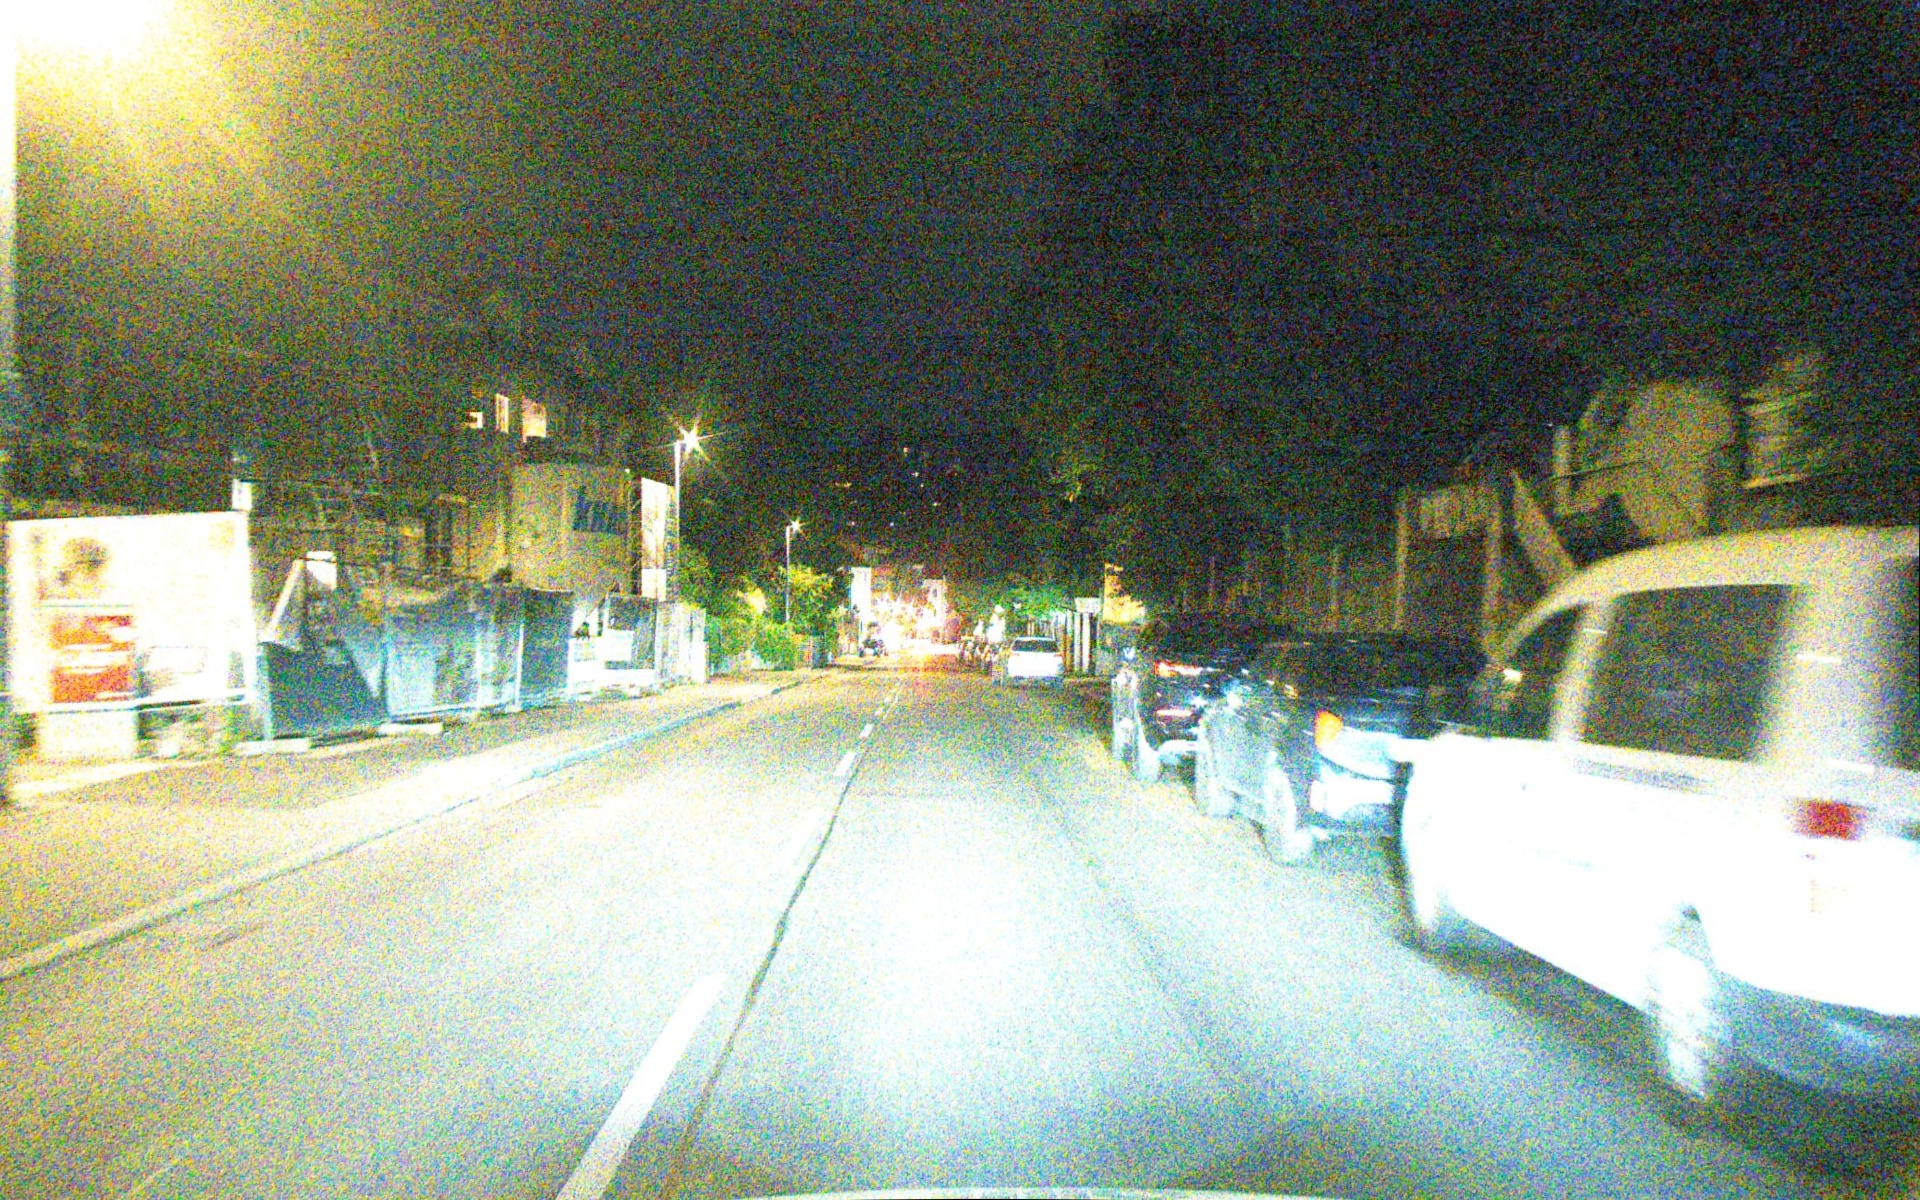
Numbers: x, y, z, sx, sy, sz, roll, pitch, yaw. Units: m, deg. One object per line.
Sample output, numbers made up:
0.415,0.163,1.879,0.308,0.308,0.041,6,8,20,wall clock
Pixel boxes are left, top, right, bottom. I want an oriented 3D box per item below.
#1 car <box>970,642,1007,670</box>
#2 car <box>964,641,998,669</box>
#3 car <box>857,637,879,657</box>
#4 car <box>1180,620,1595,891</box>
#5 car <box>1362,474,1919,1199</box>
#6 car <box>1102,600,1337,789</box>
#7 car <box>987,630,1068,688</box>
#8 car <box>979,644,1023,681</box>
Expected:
1.593,3.010,89.860,1.829,1.427,4.001,2,-1,3,car
1.185,3.130,94.697,1.649,1.474,3.997,2,-1,-3,car
-7.643,3.879,136.518,1.719,1.567,3.727,1,-2,-4,car
2.777,0.932,11.758,1.708,1.496,4.255,2,-1,-2,car
2.978,0.637,6.273,1.683,1.792,4.757,2,0,0,car
2.561,0.916,17.378,1.794,1.693,4.618,1,-1,1,car
1.865,1.651,46.932,1.728,1.501,4.271,3,-2,-5,car
1.710,2.645,70.523,1.597,1.464,3.862,1,-2,-2,car
